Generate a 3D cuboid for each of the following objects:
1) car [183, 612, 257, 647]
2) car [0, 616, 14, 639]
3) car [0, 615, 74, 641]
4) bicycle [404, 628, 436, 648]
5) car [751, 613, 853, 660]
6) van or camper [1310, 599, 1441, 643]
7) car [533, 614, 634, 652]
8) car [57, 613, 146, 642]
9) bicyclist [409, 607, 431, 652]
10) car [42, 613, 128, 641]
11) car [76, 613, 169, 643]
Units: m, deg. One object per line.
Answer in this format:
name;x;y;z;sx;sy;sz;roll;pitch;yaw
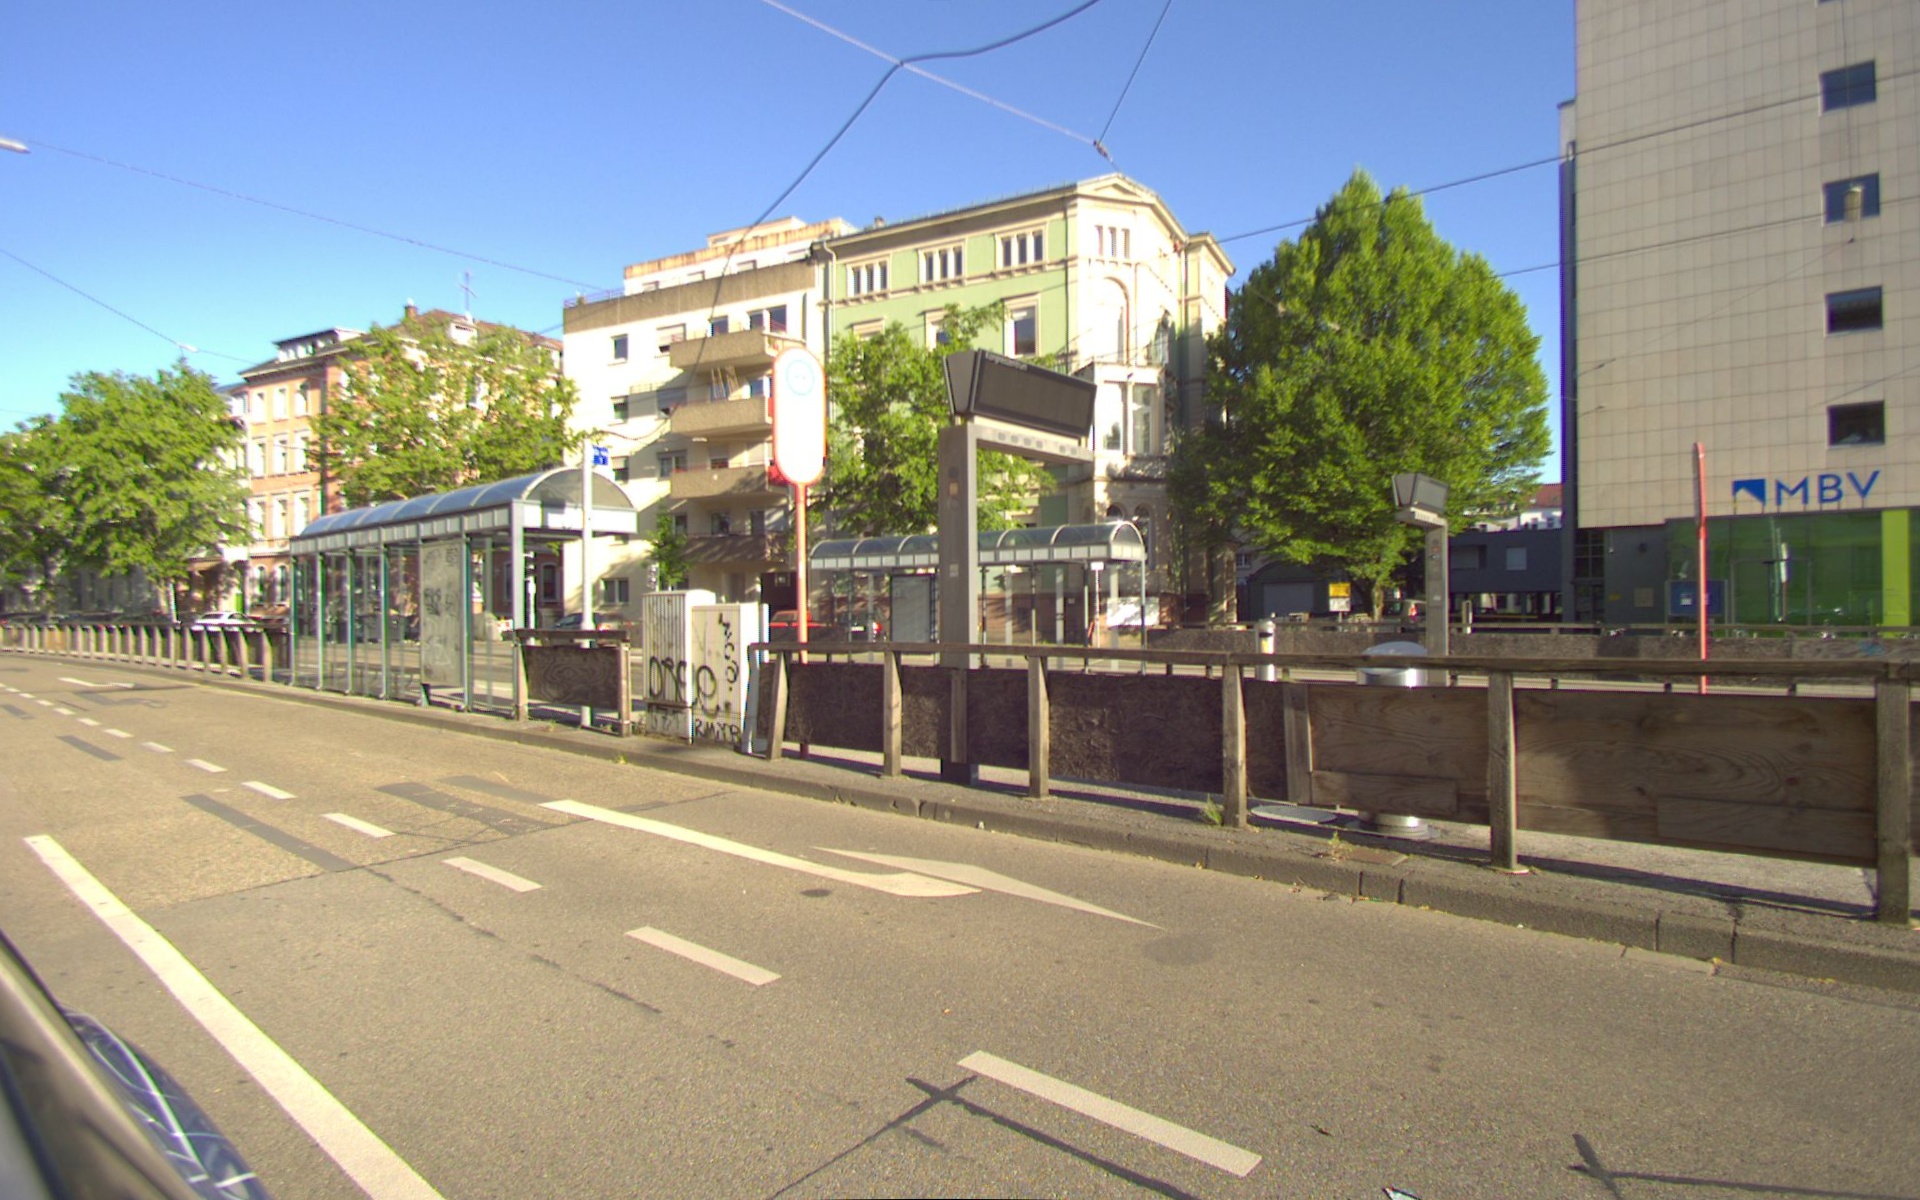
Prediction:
car;-39.934;1.542;54.720;1.966;1.736;4.012;0;1;-15
car;-68.515;1.919;70.456;2.001;1.604;3.812;-1;-2;44
car;-60.025;1.806;65.612;3.811;1.604;2.001;1;-2;-45
bicycle;-21.804;1.531;40.823;1.852;0.793;0.529;-3;-3;41
car;-5.410;1.234;35.040;1.763;1.547;3.763;-1;-1;23
van or camper;15.096;0.750;36.899;3.998;1.417;1.943;2;0;41
car;-14.412;1.267;38.743;3.498;1.406;1.602;-1;-1;22
car;-51.707;1.653;60.973;2.001;1.697;3.942;-1;-2;44
bicyclist;-21.794;1.190;40.826;0.770;1.774;0.529;-3;-3;41
car;-54.715;1.690;63.302;2.001;1.697;3.942;-1;-2;44
car;-48.390;1.599;58.501;2.001;1.697;3.942;-1;-2;44
